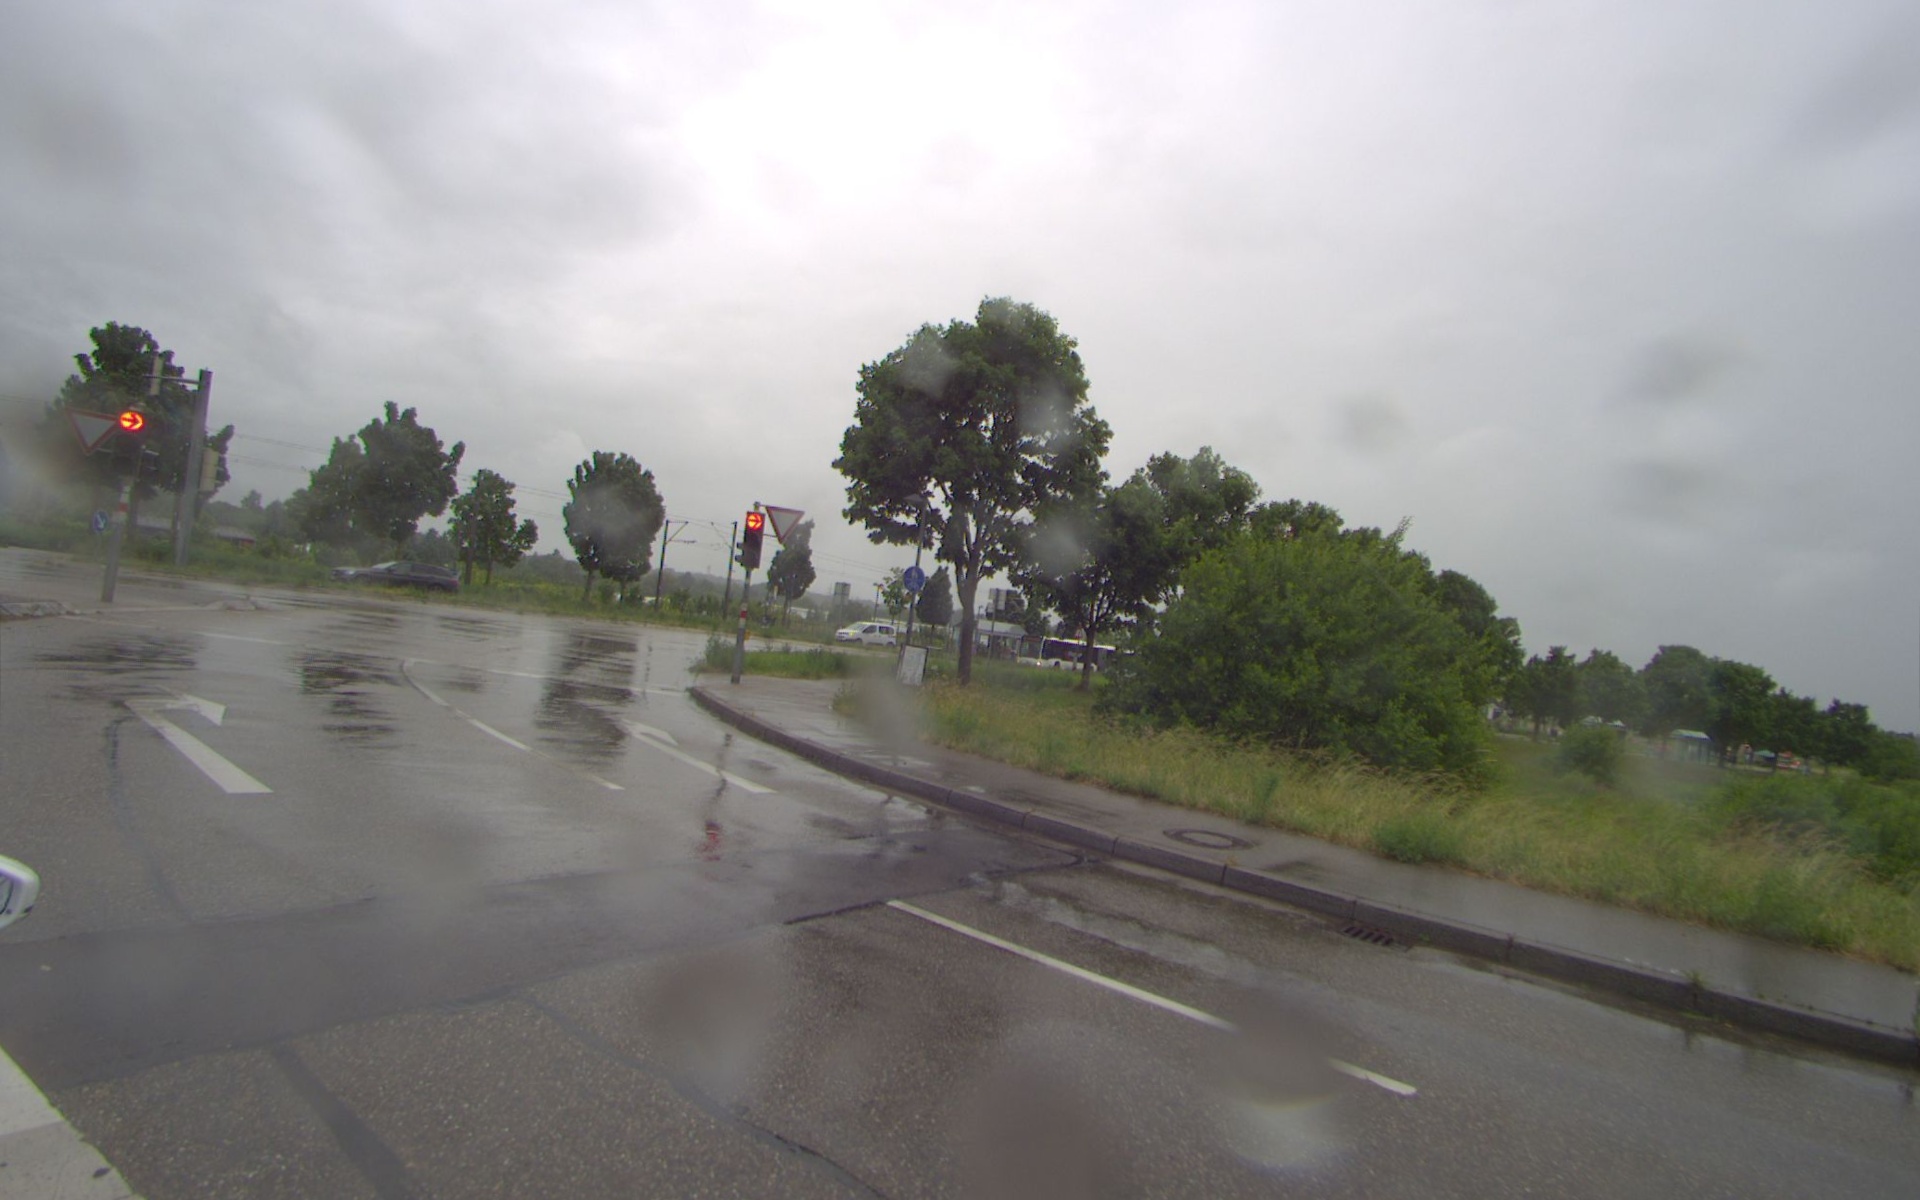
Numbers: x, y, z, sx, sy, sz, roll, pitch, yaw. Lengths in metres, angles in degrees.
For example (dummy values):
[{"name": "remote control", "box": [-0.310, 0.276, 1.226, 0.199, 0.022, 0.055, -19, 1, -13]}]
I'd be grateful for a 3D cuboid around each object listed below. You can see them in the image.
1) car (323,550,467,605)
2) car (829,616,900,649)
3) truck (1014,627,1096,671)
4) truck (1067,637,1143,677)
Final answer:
[{"name": "car", "box": [-22.894, -0.869, 40.910, 1.796, 1.572, 4.668, 7, -1, 39]}, {"name": "car", "box": [-6.103, 2.113, 64.843, 1.798, 1.572, 4.327, 7, -1, 43]}, {"name": "truck", "box": [8.426, 4.350, 88.090, 2.616, 2.864, 8.823, 7, -2, 37]}, {"name": "truck", "box": [13.875, 5.447, 95.278, 2.616, 2.804, 9.326, 7, -2, 38]}]
